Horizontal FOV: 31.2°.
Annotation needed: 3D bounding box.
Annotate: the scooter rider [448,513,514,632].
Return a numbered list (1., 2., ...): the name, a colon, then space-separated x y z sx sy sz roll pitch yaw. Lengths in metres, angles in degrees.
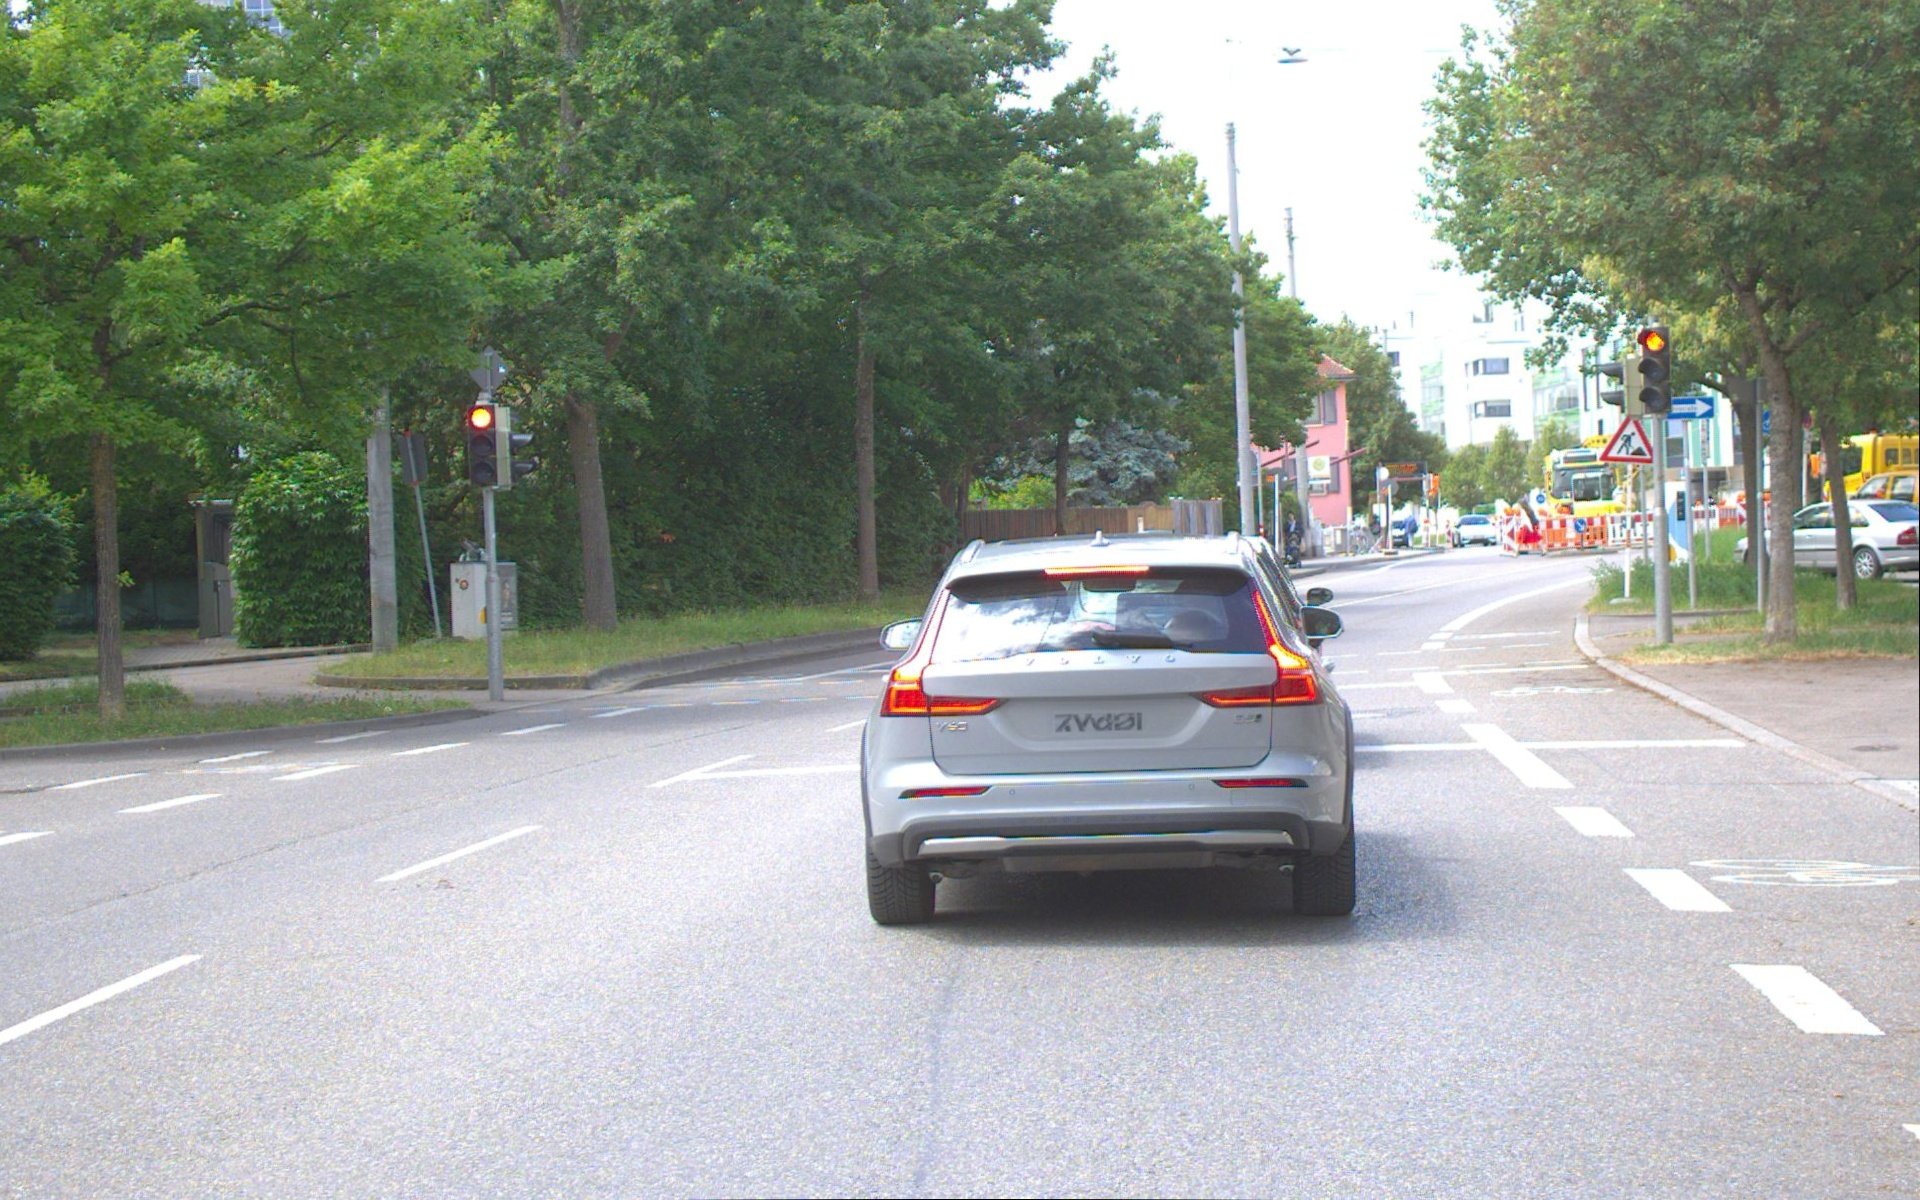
1. scooter rider: -7.027 -0.398 50.406 0.705 1.721 0.680 -1 0 -34

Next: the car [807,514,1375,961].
1. car: 0.713 0.442 14.307 1.956 1.518 4.328 -2 1 7

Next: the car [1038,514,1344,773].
1. car: 1.578 0.211 22.840 1.804 1.518 4.328 1 1 5

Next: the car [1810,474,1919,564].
1. car: 21.575 -1.864 79.406 3.756 2.007 1.742 -1 0 -36

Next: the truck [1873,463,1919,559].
1. truck: 22.558 -1.934 74.411 5.597 2.007 2.089 -1 0 -32

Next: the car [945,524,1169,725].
1. car: 0.808 0.198 30.383 1.804 1.611 4.329 1 0 0
